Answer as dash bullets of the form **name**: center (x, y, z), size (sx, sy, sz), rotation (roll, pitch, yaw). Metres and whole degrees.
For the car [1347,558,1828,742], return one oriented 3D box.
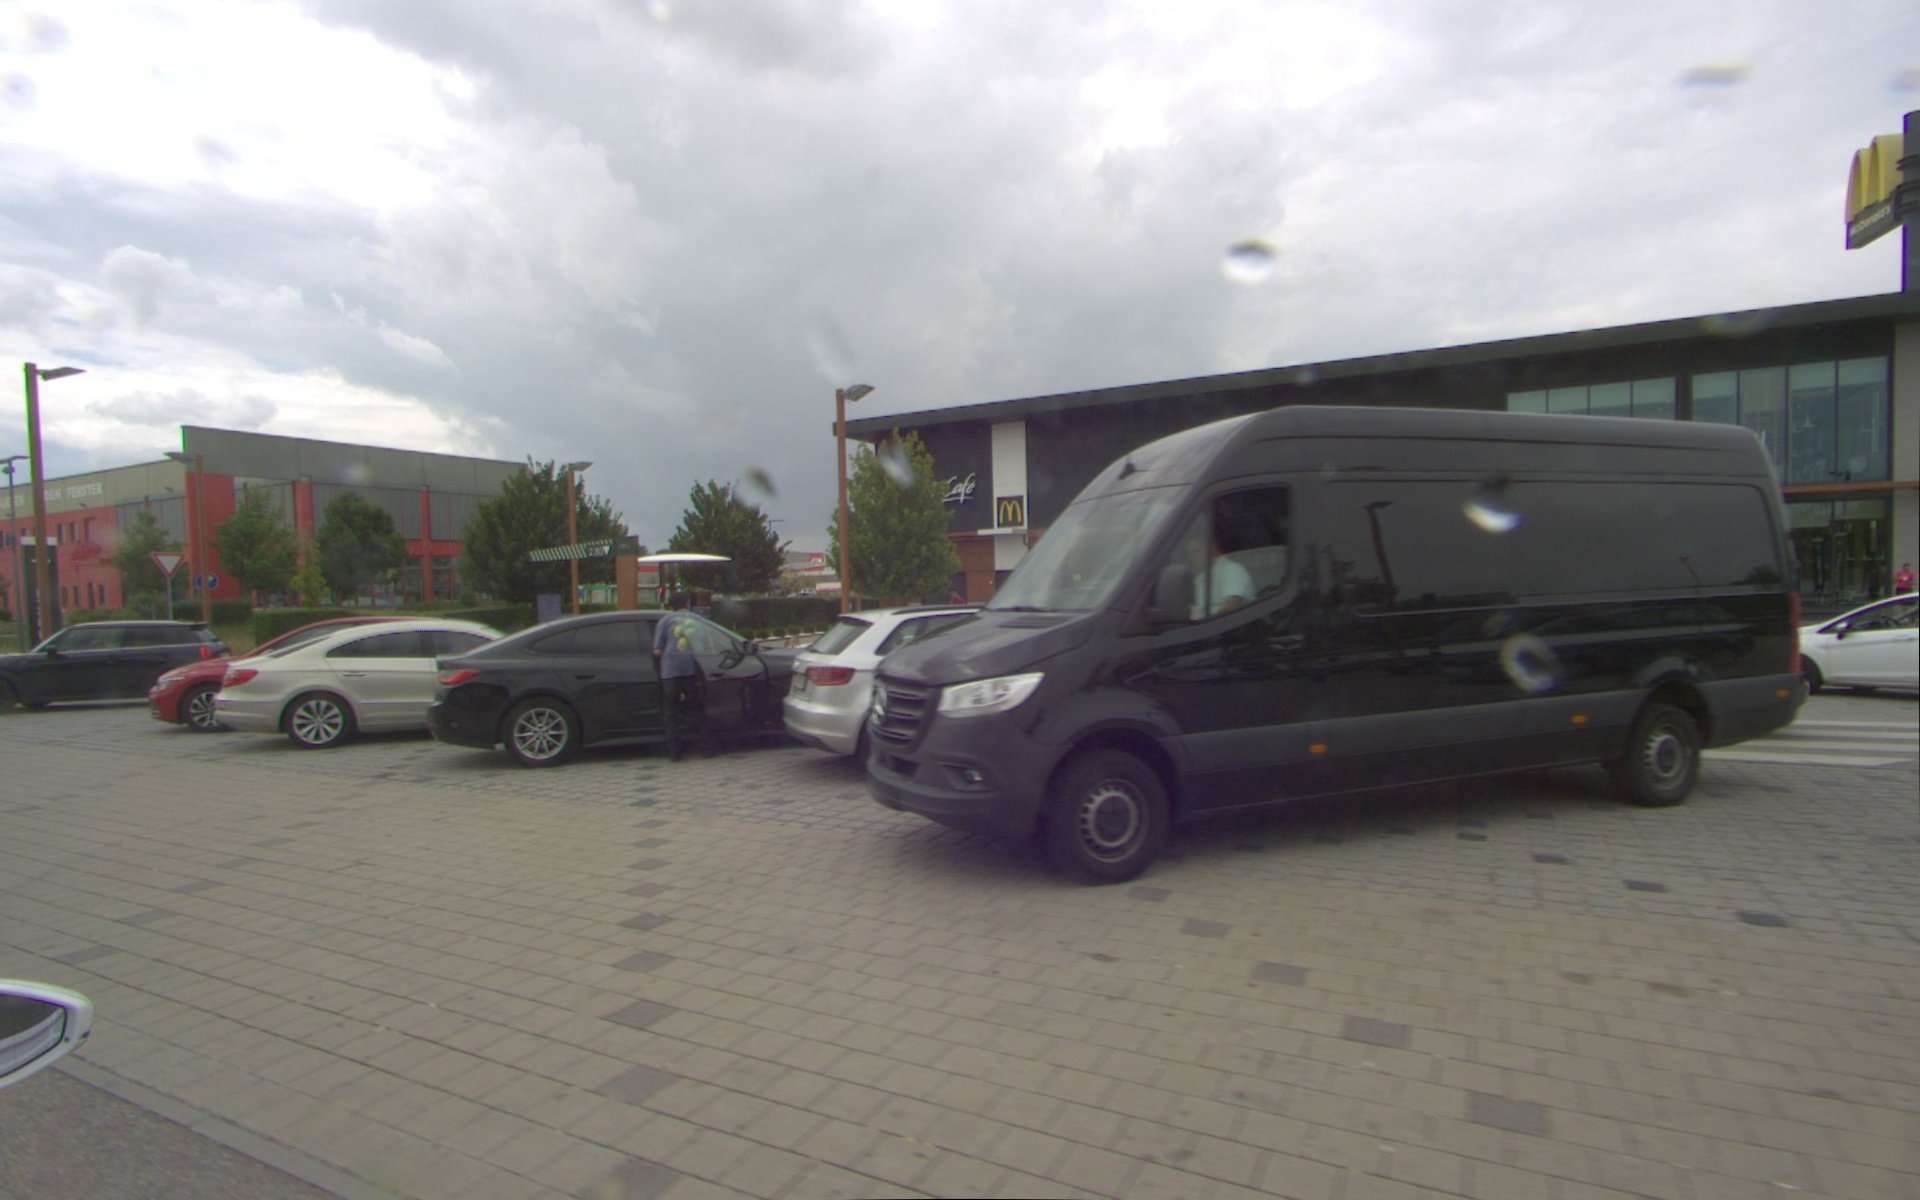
- **car**: center (6.484, 0.421, 10.948), size (4.120, 1.713, 1.805), rotation (1, 2, 24)

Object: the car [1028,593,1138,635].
- **car**: center (4.823, 0.510, 39.431), size (3.936, 1.526, 1.781), rotation (1, 2, 27)

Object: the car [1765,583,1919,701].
- **car**: center (12.807, 0.512, 12.764), size (1.811, 1.473, 3.565), rotation (-1, 0, -20)

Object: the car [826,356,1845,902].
- **car**: center (2.699, 0.123, 6.899), size (6.893, 2.587, 2.068), rotation (-1, 0, -20)

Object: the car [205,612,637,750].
- **car**: center (-6.326, 0.885, 12.331), size (4.385, 1.431, 1.748), rotation (-1, 0, -21)

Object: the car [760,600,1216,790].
- **car**: center (0.234, 0.760, 9.377), size (3.931, 1.470, 1.683), rotation (-1, 0, -20)

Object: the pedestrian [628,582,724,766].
- **pedestrian**: center (-2.775, 0.694, 9.799), size (0.828, 1.699, 0.748), rotation (-1, 0, -17)

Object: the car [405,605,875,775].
- **car**: center (-3.208, 0.819, 10.514), size (4.331, 1.482, 1.683), rotation (-1, 0, -20)

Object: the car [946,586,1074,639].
- **car**: center (1.647, 0.364, 32.729), size (3.844, 1.606, 1.742), rotation (-1, 2, -26)

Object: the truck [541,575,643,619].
- **truck**: center (-39.897, -0.458, 108.422), size (11.817, 4.561, 3.748), rotation (1, 2, 30)

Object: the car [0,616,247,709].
- **car**: center (-14.818, 1.028, 17.214), size (3.866, 1.431, 1.682), rotation (-1, 0, -23)

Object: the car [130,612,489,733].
- **car**: center (-8.917, 0.936, 14.138), size (3.931, 1.483, 1.683), rotation (-1, 0, -20)
